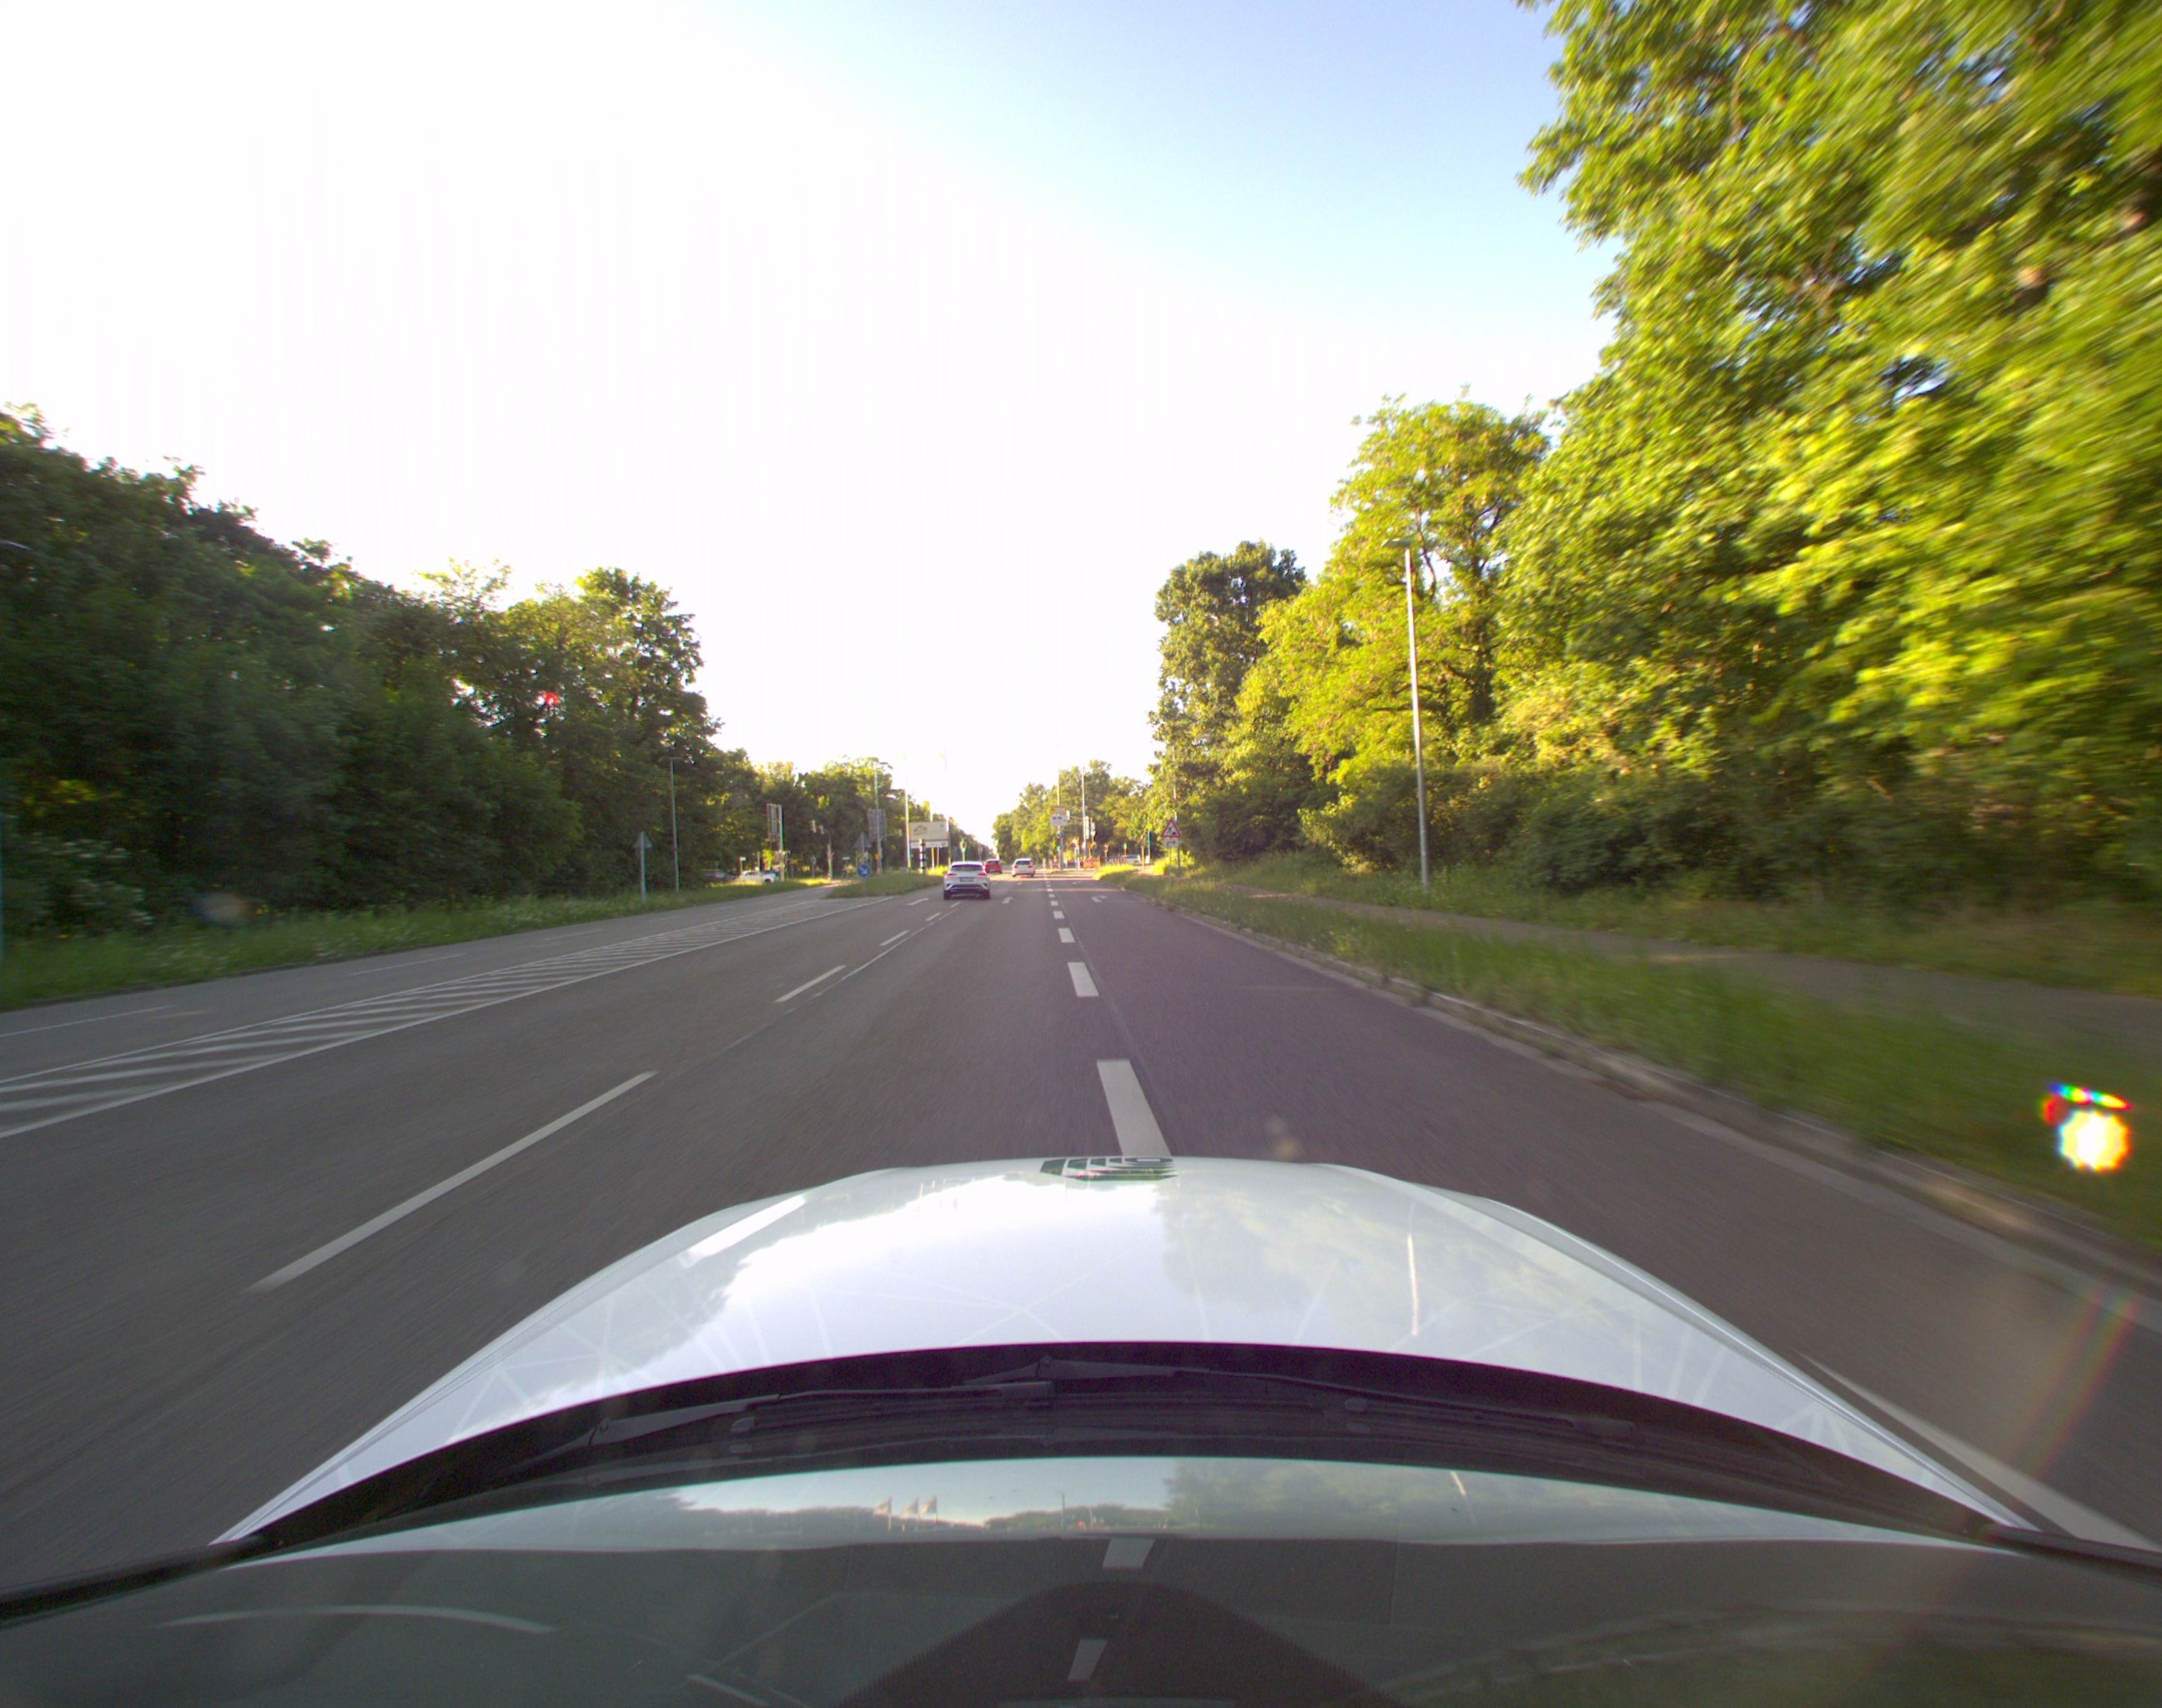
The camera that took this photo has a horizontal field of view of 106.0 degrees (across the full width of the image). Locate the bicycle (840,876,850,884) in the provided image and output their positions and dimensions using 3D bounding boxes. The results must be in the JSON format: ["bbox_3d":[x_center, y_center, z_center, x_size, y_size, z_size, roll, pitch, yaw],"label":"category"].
[{"bbox_3d":[-29.139,3.196,100.565,0.712,0.914,1.910,-2,0,0],"label":"bicycle"}]

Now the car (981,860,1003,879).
[{"bbox_3d":[-8.597,1.510,78.766,1.992,1.684,3.989,-2,-1,-8],"label":"car"}]

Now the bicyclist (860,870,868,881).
[{"bbox_3d":[-27.046,2.656,101.481,0.712,1.356,0.990,-2,-1,0],"label":"bicyclist"}]

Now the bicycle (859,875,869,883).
[{"bbox_3d":[-27.031,3.090,101.479,0.712,0.914,1.910,-2,-1,0],"label":"bicycle"}]

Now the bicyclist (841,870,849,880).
[{"bbox_3d":[-29.164,2.604,100.574,0.712,1.192,0.990,-2,-1,0],"label":"bicyclist"}]

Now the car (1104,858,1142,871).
[{"bbox_3d":[5.860,1.457,113.653,4.842,1.580,1.983,-2,-1,-26],"label":"car"}]

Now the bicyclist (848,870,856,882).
[{"bbox_3d":[-28.253,2.686,100.526,0.708,1.389,0.990,-2,-1,0],"label":"bicyclist"}]

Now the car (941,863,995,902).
[{"bbox_3d":[-4.530,1.131,33.181,1.859,1.444,3.994,-1,-1,-4],"label":"car"}]

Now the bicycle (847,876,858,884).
[{"bbox_3d":[-28.231,3.168,100.553,0.712,0.914,1.910,-2,-1,0],"label":"bicycle"}]

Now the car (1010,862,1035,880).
[{"bbox_3d":[-4.883,1.397,68.193,1.937,1.414,3.993,-2,-1,-4],"label":"car"}]

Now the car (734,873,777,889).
[{"bbox_3d":[-33.540,2.789,83.887,3.810,1.389,1.910,-2,-1,-29],"label":"car"}]
